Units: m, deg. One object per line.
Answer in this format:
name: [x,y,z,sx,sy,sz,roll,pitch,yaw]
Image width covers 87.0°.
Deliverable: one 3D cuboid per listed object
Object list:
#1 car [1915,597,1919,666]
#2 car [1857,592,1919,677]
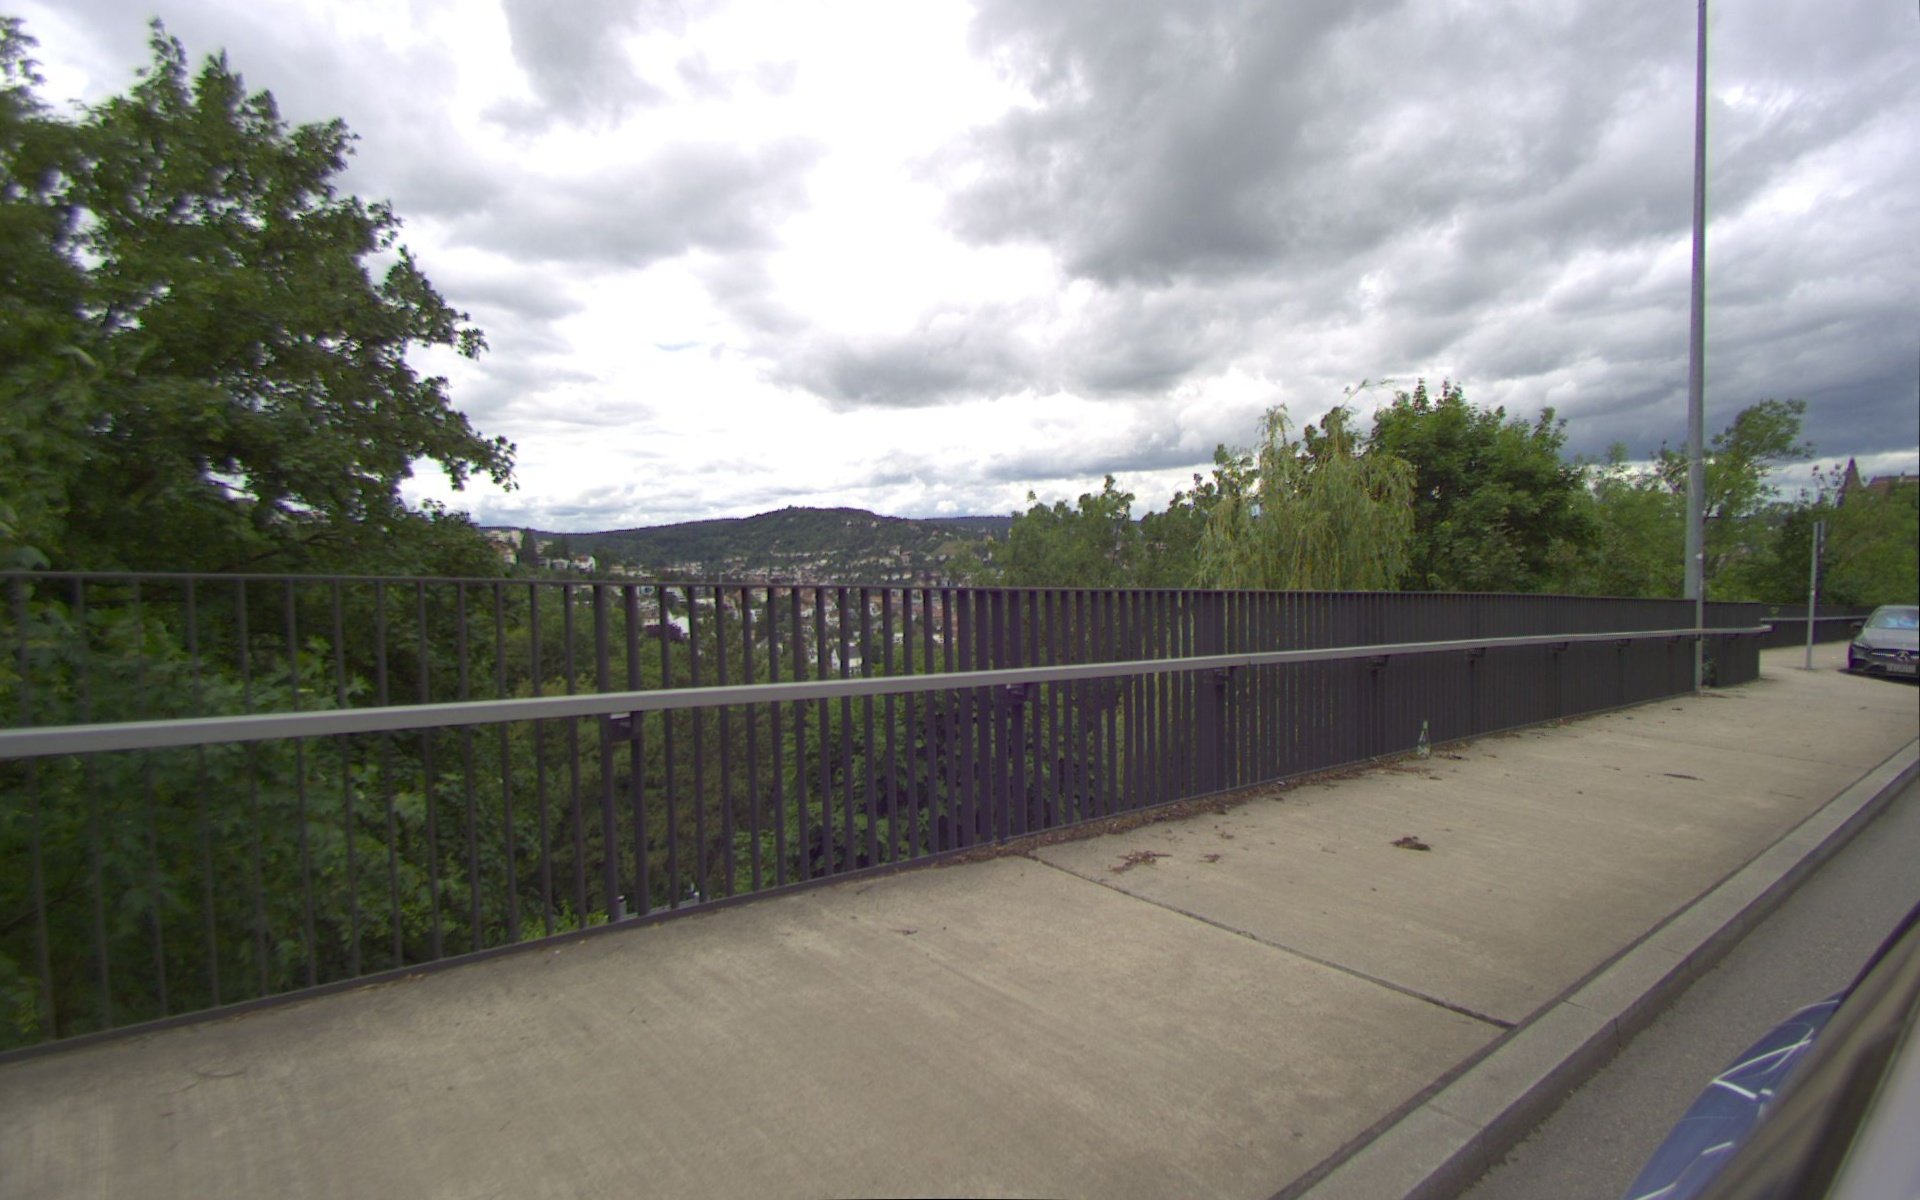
car: [24.597,0.756,24.482,4.544,1.588,1.730,0,2,-41]
car: [19.929,0.681,20.701,4.350,1.562,1.761,0,4,-41]
